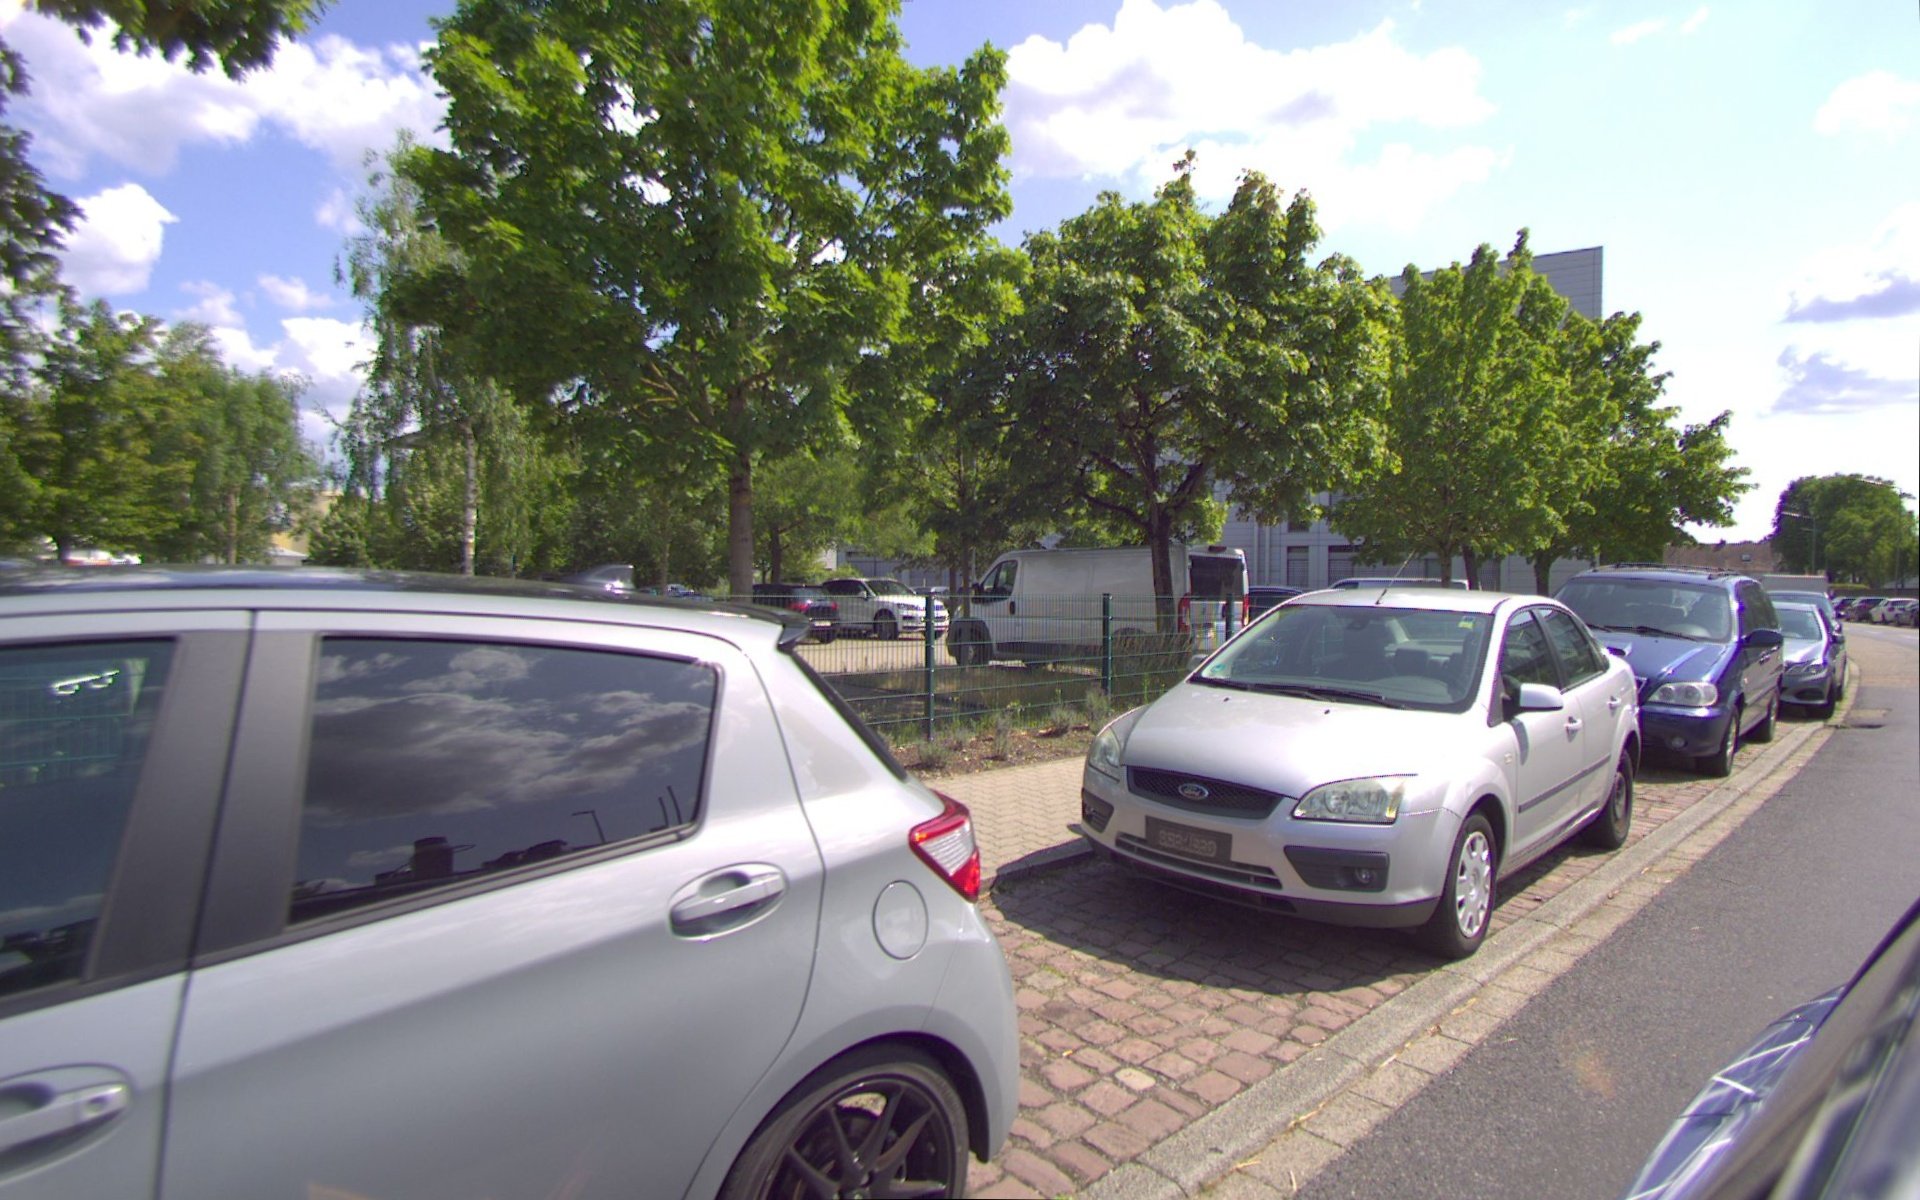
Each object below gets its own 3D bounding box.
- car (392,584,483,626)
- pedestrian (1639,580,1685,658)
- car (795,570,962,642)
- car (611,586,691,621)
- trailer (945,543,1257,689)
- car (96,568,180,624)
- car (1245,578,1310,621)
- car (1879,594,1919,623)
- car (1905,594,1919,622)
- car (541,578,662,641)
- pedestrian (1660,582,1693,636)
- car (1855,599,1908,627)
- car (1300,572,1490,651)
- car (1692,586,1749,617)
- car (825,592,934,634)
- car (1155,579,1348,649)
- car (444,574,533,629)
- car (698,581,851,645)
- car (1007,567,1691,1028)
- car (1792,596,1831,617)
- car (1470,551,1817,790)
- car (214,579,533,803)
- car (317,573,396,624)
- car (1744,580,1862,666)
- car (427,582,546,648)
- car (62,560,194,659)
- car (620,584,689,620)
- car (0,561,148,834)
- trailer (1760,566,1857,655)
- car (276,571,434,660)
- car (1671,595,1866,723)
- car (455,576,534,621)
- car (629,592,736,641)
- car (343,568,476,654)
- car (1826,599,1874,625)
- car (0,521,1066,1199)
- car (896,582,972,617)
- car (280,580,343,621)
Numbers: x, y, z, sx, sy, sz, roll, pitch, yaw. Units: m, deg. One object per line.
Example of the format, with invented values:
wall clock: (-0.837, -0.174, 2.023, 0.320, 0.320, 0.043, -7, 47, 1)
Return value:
car: (-18.416, 0.138, 35.565, 1.868, 1.392, 3.991, 0, 1, -43)
pedestrian: (16.054, 0.410, 23.139, 0.720, 1.714, 0.729, 4, 2, 40)
car: (-2.310, 0.114, 27.590, 1.884, 1.789, 4.853, 0, 1, -45)
car: (-12.875, 0.115, 42.104, 1.723, 1.392, 3.702, 0, 0, -43)
trailer: (2.228, 0.194, 17.124, 5.048, 2.108, 2.028, 1, 1, 45)
car: (-24.729, -0.095, 30.409, 1.858, 1.577, 3.993, 0, -1, -41)
car: (13.026, -0.026, 41.423, 1.812, 1.669, 3.300, -1, -1, 31)
car: (51.132, 0.450, 54.578, 1.556, 1.473, 3.702, 1, 1, 31)
car: (48.739, 0.395, 50.327, 1.657, 1.422, 3.957, 0, 0, 30)
car: (-10.343, 0.243, 29.044, 1.826, 1.687, 3.990, 0, 0, -43)
pedestrian: (23.218, 0.282, 32.793, 0.726, 1.666, 0.572, 6, 2, 39)
car: (54.087, 0.735, 59.451, 1.556, 1.534, 3.702, 1, 1, 31)
car: (12.014, 0.276, 28.111, 4.464, 1.991, 1.970, 2, 0, 41)
car: (41.433, 0.079, 55.210, 1.799, 1.523, 3.960, 5, 2, 28)
car: (-2.939, 0.427, 36.366, 1.807, 1.392, 3.990, 0, 0, -43)
car: (7.267, 0.353, 25.467, 4.320, 1.615, 1.829, -1, -1, 41)
car: (-24.035, 0.120, 51.443, 2.701, 2.632, 5.789, 0, -1, -40)
car: (-4.610, 0.264, 24.850, 1.774, 1.440, 3.989, 0, 1, -45)
car: (2.490, 0.626, 5.648, 4.580, 1.511, 1.834, 0, 2, -45)
car: (65.609, 0.477, 78.036, 1.665, 1.534, 3.702, 1, 2, 31)
car: (6.988, 0.490, 10.079, 4.994, 1.787, 1.852, 0, 3, -44)
car: (-5.585, 0.613, 9.360, 1.602, 1.514, 4.330, 0, 2, -43)
car: (-22.932, -0.016, 38.404, 1.965, 1.825, 3.993, 0, -1, -40)
car: (19.481, 0.460, 23.377, 1.860, 1.703, 4.640, 4, 3, 41)
car: (-13.070, 0.368, 27.852, 1.826, 1.687, 3.990, 0, 0, -43)
car: (-18.244, 0.174, 22.136, 1.965, 1.960, 4.085, 0, 0, -43)
car: (-12.693, 0.097, 41.992, 1.560, 1.430, 3.293, 0, -1, -41)
car: (-7.561, 0.547, 7.691, 1.826, 1.692, 4.330, 0, 2, -43)
trailer: (22.267, 0.228, 26.639, 1.744, 2.092, 3.891, 4, 3, 39)
car: (-11.228, 0.241, 18.667, 1.700, 1.455, 4.165, 0, 0, -43)
car: (11.927, 0.710, 14.799, 1.841, 1.478, 4.793, 3, 2, 43)
car: (-19.639, -0.031, 42.612, 1.965, 1.793, 3.992, 0, -1, -41)
car: (-8.515, 0.468, 30.880, 1.459, 1.392, 3.990, 0, 0, -43)
car: (-13.873, 0.231, 25.392, 1.965, 1.960, 4.085, 0, 0, -43)
car: (56.523, 0.725, 64.322, 1.556, 1.534, 3.991, 1, 1, 31)
car: (-1.805, 0.642, 1.591, 3.878, 1.513, 1.689, 0, 2, -40)
car: (-1.229, -0.050, 49.856, 1.941, 1.567, 3.958, -1, 1, 30)
car: (-29.921, 0.061, 46.653, 1.965, 1.793, 3.993, 0, -1, -40)
